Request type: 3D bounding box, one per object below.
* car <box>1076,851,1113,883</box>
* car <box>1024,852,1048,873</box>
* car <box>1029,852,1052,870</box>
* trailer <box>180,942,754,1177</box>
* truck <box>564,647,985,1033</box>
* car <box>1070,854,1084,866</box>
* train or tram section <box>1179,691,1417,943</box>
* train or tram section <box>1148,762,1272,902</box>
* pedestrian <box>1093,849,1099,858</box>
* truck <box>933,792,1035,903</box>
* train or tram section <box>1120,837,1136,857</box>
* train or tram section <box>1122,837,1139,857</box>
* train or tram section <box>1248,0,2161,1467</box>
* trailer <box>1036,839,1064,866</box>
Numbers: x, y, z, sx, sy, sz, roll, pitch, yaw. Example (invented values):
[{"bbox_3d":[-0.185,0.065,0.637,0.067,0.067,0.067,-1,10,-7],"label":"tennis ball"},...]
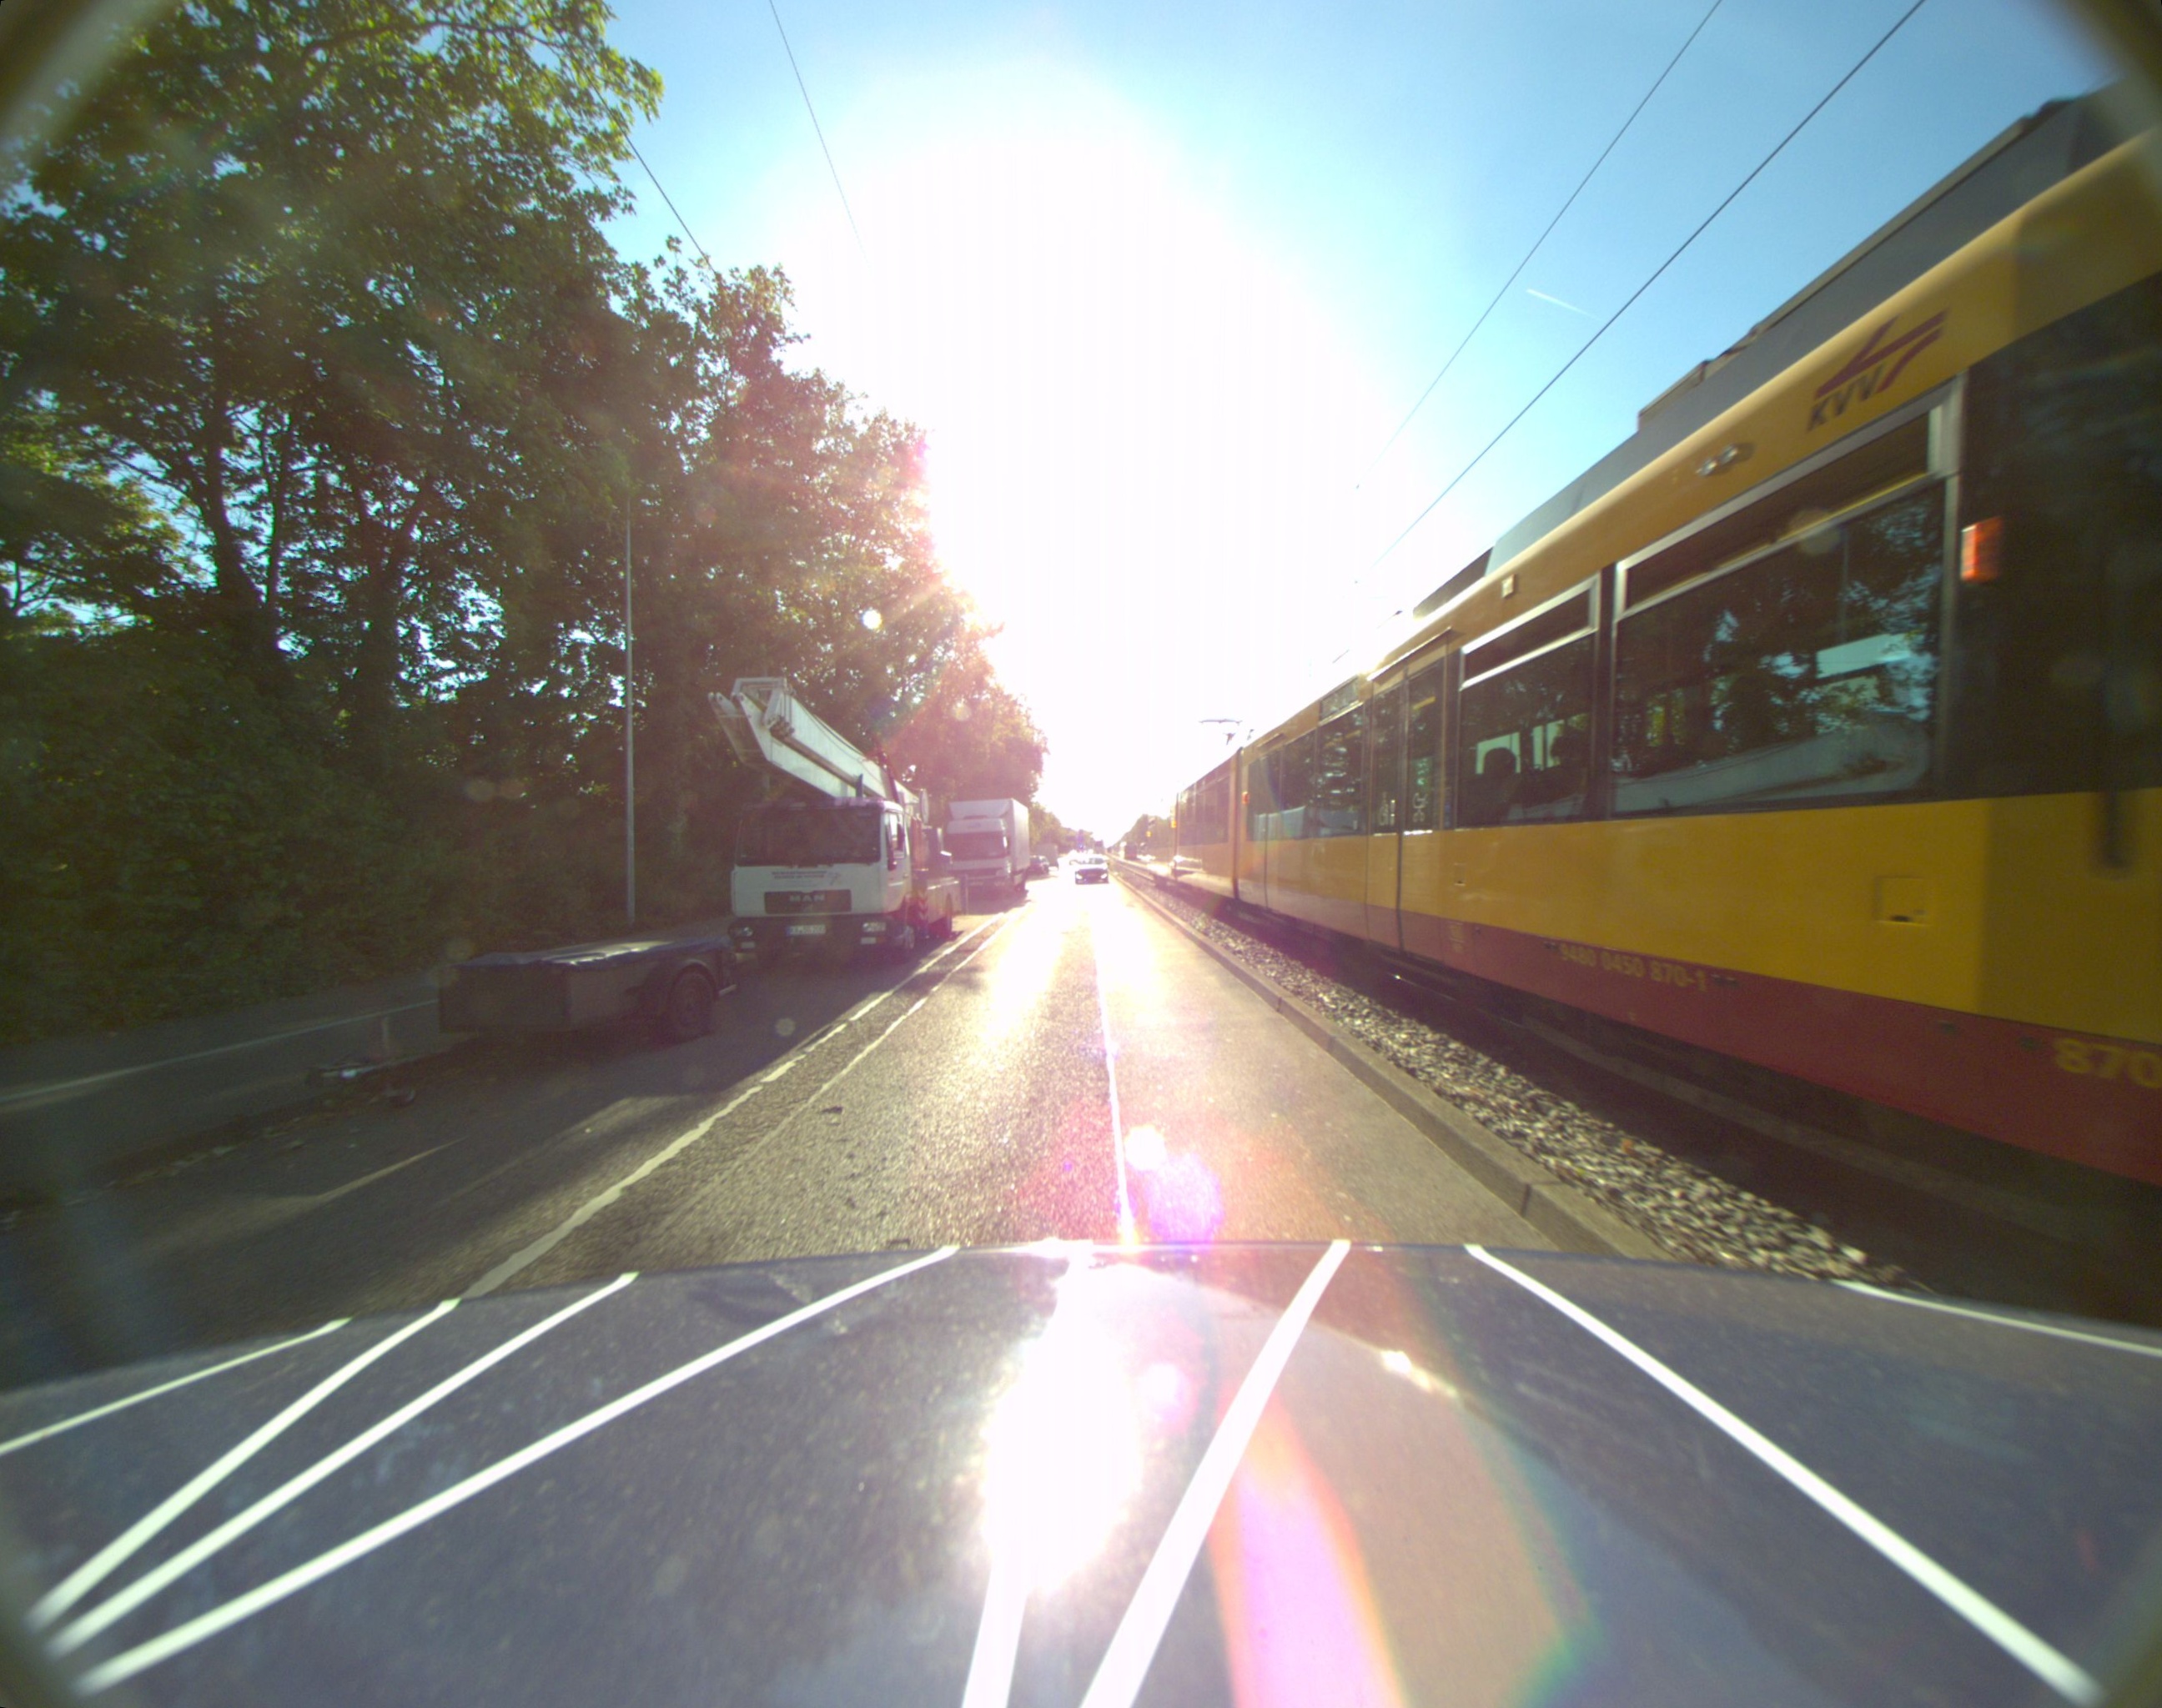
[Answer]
[{"bbox_3d":[0.746,0.634,39.582,1.786,1.530,4.000,-1,0,3],"label":"car"},{"bbox_3d":[-3.709,0.682,62.966,1.644,1.528,3.640,-3,0,1],"label":"car"},{"bbox_3d":[-3.604,0.596,68.145,1.813,1.448,4.165,-3,0,-1],"label":"car"},{"bbox_3d":[-4.132,1.335,5.929,1.580,0.854,3.501,-1,0,1],"label":"trailer"},{"bbox_3d":[-3.686,-0.157,12.495,2.724,3.761,9.760,-2,0,0],"label":"truck"},{"bbox_3d":[-0.483,0.765,98.605,1.784,1.586,4.000,-1,0,1],"label":"car"},{"bbox_3d":[4.134,-0.610,17.238,2.701,4.065,9.910,0,0,1],"label":"train or tram section"},{"bbox_3d":[4.360,-0.667,29.004,2.728,4.067,13.615,0,0,1],"label":"train or tram section"},{"bbox_3d":[2.539,-0.011,129.311,0.760,1.485,0.696,-1,1,34],"label":"pedestrian"},{"bbox_3d":[-3.710,-0.254,31.722,2.749,3.761,10.088,-2,0,0],"label":"truck"},{"bbox_3d":[10.220,-1.529,166.716,2.834,3.982,15.874,-2,1,2],"label":"train or tram section"},{"bbox_3d":[9.835,-1.378,152.238,2.834,3.665,12.968,-2,1,2],"label":"train or tram section"},{"bbox_3d":[3.992,-0.587,5.893,2.726,4.065,12.812,0,0,1],"label":"train or tram section"},{"bbox_3d":[-3.240,-0.194,80.980,2.256,2.679,5.948,-1,0,4],"label":"trailer"}]
